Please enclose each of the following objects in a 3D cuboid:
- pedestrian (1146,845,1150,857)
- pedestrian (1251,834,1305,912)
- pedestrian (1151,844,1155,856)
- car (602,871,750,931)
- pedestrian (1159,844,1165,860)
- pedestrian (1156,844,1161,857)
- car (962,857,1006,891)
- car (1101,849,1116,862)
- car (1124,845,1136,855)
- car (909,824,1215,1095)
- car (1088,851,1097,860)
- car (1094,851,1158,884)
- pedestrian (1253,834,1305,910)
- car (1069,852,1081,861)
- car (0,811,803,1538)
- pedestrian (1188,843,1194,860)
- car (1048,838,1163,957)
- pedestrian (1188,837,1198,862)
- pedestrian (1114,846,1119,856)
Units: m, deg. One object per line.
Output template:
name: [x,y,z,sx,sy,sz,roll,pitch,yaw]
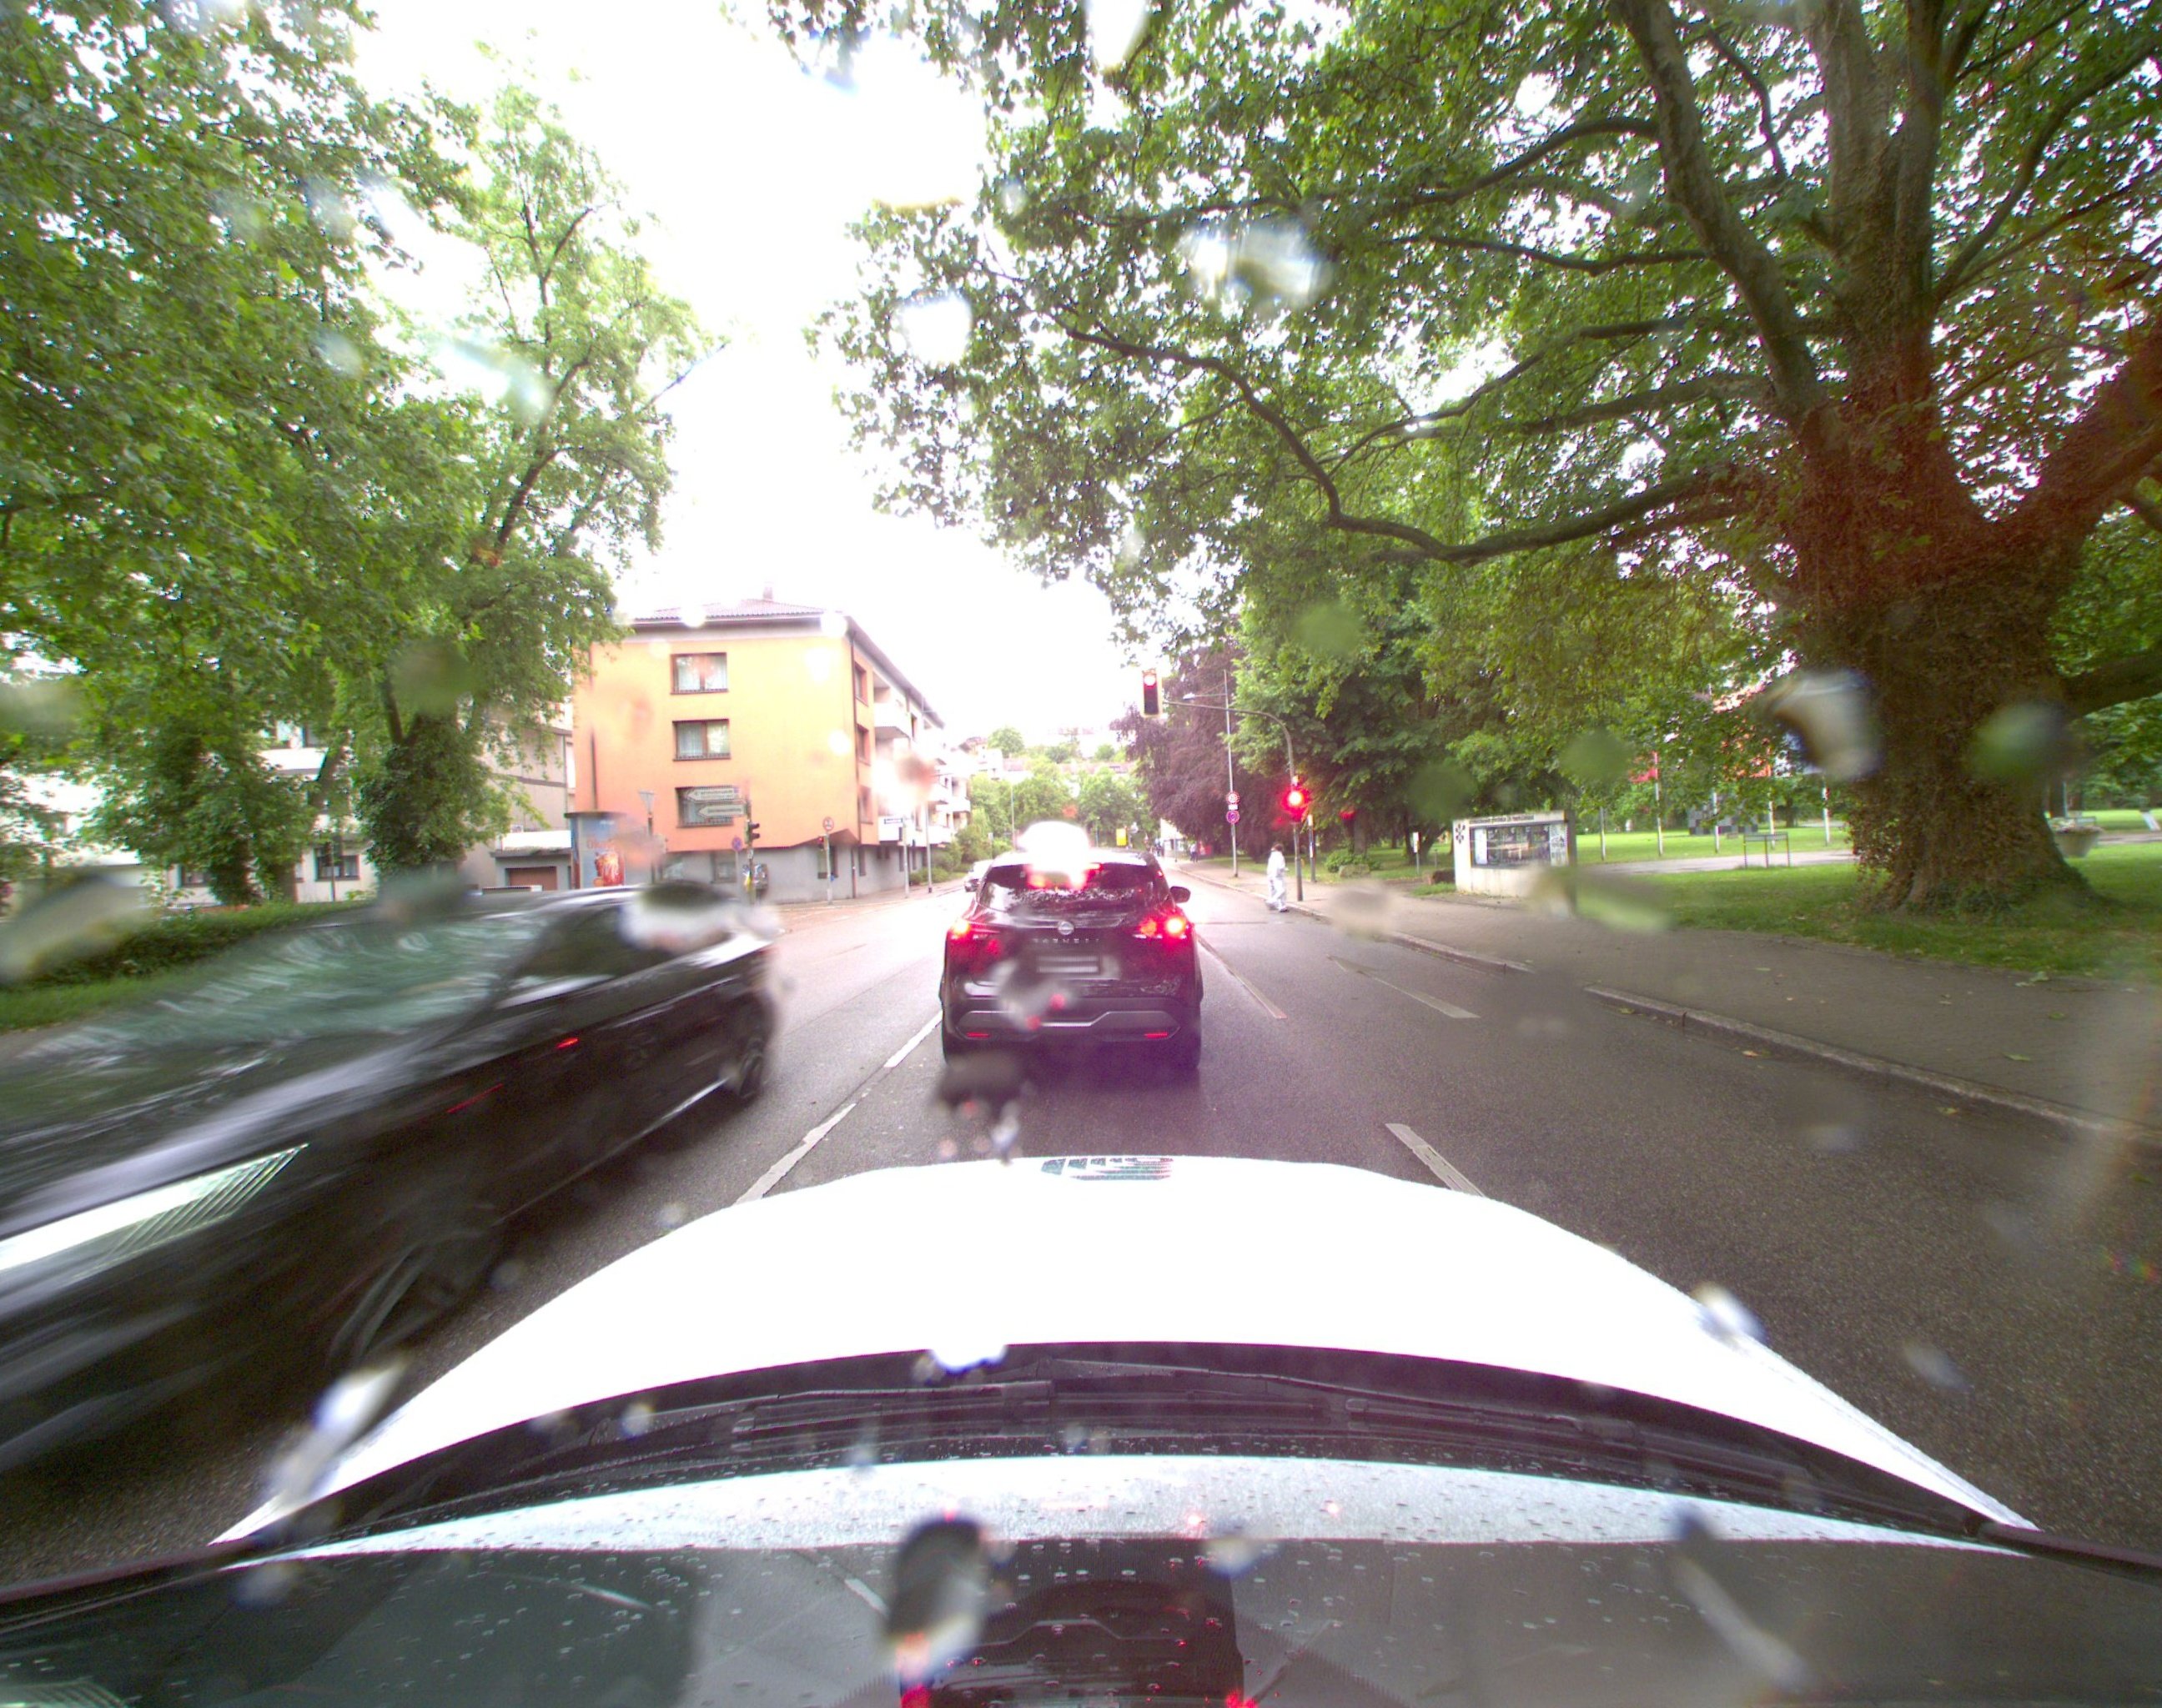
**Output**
pedestrian: [9.903,-0.456,120.385,0.506,1.802,0.620,-3,0,1]
pedestrian: [4.994,0.464,20.681,1.035,1.876,0.656,-4,0,-9]
pedestrian: [10.605,-0.553,119.553,0.507,1.802,0.659,-3,0,0]
car: [-12.824,1.451,26.034,3.861,1.533,1.792,-4,0,-15]
pedestrian: [9.093,-0.198,91.116,0.506,1.802,0.620,-3,0,1]
pedestrian: [11.429,-0.510,120.196,0.507,1.802,0.619,-3,0,0]
car: [-4.839,0.954,41.158,1.791,1.533,3.865,-3,0,-2]
car: [3.324,0.163,98.753,1.628,1.532,3.969,-3,0,2]
car: [8.836,-0.772,146.705,1.983,1.735,4.007,0,0,7]
car: [-0.053,0.659,7.134,1.906,1.680,4.002,-1,0,2]
car: [2.137,0.195,151.040,1.628,1.532,3.969,-3,0,2]
car: [2.370,0.648,41.348,1.810,1.403,4.675,-4,0,21]
pedestrian: [5.198,0.467,21.428,1.035,1.876,0.656,-4,0,-9]
car: [-1.167,0.469,157.590,1.963,1.532,3.969,-3,0,2]
car: [-3.033,0.765,3.910,1.839,1.625,4.138,-3,0,1]
pedestrian: [9.944,-0.265,73.440,0.388,1.502,0.559,-3,0,2]
car: [0.445,0.668,14.466,1.692,1.745,3.642,-3,0,2]
pedestrian: [9.431,-0.369,68.581,0.722,2.013,0.852,-3,0,2]
pedestrian: [5.938,-0.510,135.266,0.503,1.673,0.663,-3,0,29]
